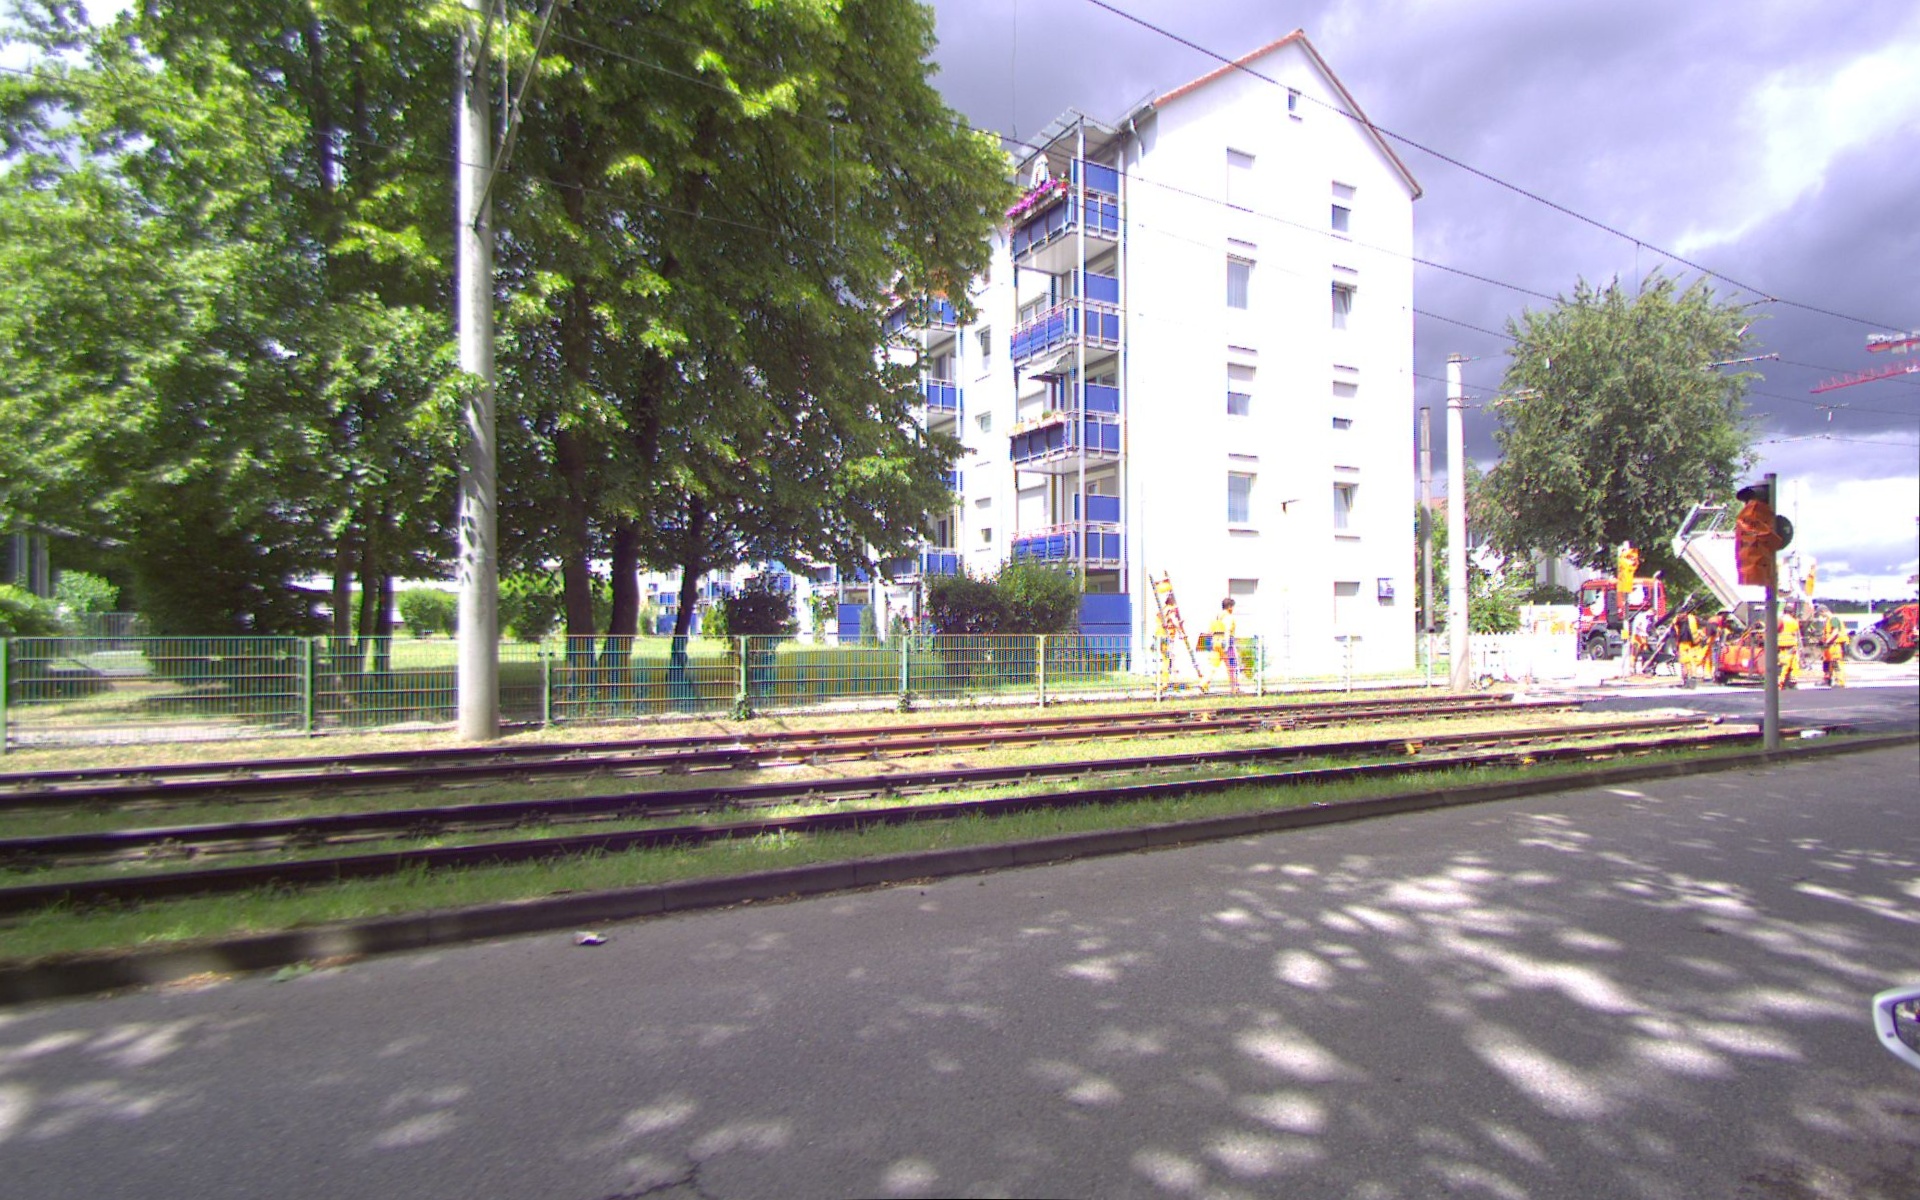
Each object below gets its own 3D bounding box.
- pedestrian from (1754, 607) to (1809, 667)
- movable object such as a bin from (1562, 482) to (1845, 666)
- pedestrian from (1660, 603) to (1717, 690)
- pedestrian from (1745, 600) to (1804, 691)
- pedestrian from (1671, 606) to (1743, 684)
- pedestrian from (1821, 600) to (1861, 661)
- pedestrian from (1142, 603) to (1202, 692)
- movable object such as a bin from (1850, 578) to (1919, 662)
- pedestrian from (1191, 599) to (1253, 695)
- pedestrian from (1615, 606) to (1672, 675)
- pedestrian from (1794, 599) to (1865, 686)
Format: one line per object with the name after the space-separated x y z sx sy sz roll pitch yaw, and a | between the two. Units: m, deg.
23.216 1.040 28.394 0.886 1.667 0.884 1 0 -19 | pedestrian
25.099 -0.708 34.760 2.612 5.486 9.229 1 -1 -3 | movable object such as a bin
15.443 0.966 21.322 0.872 1.784 0.835 1 0 30 | pedestrian
17.433 0.948 21.519 0.873 1.892 0.835 1 0 32 | pedestrian
17.292 1.025 23.281 1.088 1.738 0.888 1 0 16 | pedestrian
27.838 0.947 31.748 0.881 1.892 0.827 1 0 -41 | pedestrian
4.044 0.895 19.143 0.856 1.647 0.728 1 -1 -30 | pedestrian
31.384 0.651 31.951 2.177 2.664 4.379 1 -1 -3 | movable object such as a bin
4.861 0.855 18.664 0.856 1.741 0.696 1 0 -30 | pedestrian
16.820 0.986 24.743 0.870 1.667 0.837 1 0 7 | pedestrian
19.396 0.935 22.425 0.821 1.892 0.888 1 0 -1 | pedestrian
